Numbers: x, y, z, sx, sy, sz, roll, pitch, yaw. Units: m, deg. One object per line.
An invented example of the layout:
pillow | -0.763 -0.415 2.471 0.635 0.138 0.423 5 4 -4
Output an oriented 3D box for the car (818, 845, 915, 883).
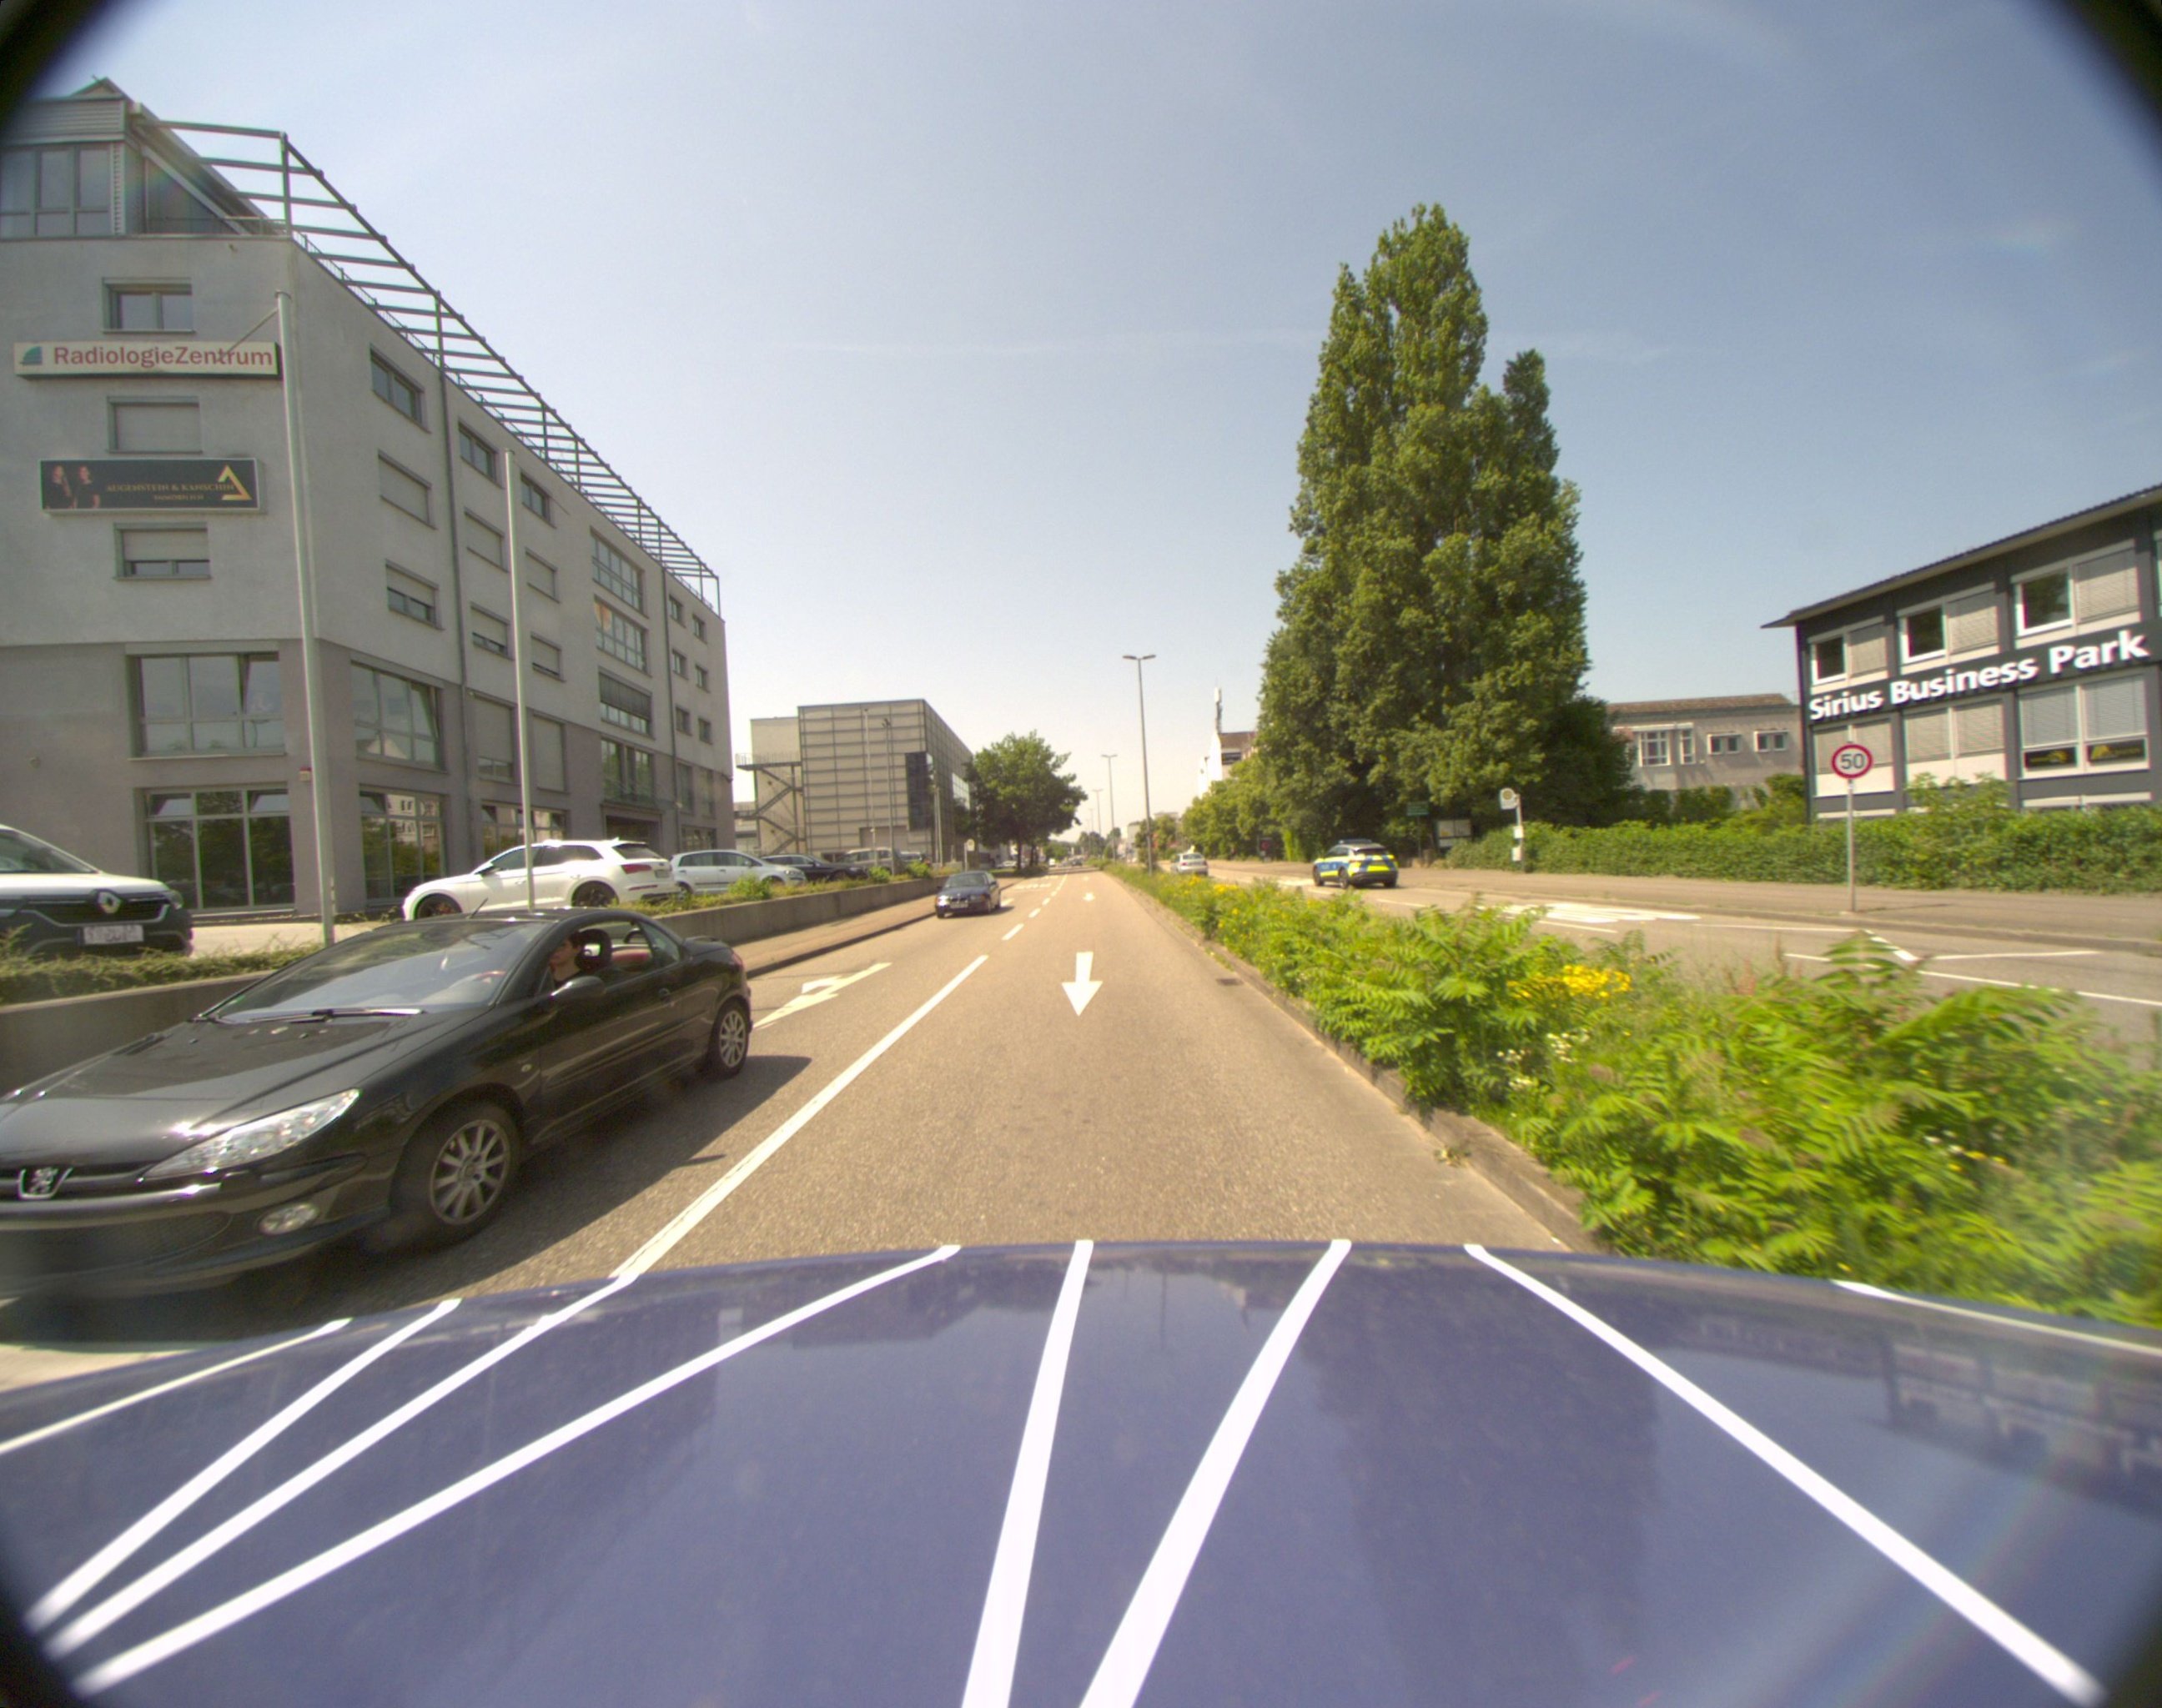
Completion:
car | -10.358 0.459 36.889 4.137 1.477 1.758 -4 1 -1

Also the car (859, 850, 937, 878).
car | -10.781 0.582 45.050 4.137 1.477 1.758 -3 1 -1

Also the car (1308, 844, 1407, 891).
car | 10.087 0.436 28.104 1.899 1.551 4.285 -2 0 -3

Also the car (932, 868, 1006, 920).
car | -3.530 1.232 24.647 1.711 1.316 3.955 -4 1 0

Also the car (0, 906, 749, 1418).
car | -3.409 1.107 4.152 1.641 1.348 3.499 -1 0 0

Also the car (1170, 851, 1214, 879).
car | 6.407 0.614 44.291 1.764 1.410 4.090 -3 1 -2

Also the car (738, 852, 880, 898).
car | -10.451 0.779 29.446 4.761 1.373 1.799 -4 1 -4

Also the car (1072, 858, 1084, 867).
car | -0.466 1.405 128.256 1.867 1.390 4.000 -2 0 1

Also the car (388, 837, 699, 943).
car | -10.411 0.639 15.063 4.476 1.600 2.096 -4 1 -4

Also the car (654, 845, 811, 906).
car | -10.500 0.614 23.198 4.001 1.477 1.756 -4 1 -13

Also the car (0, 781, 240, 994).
car | -10.751 0.468 6.632 4.421 1.690 1.999 -6 2 1
